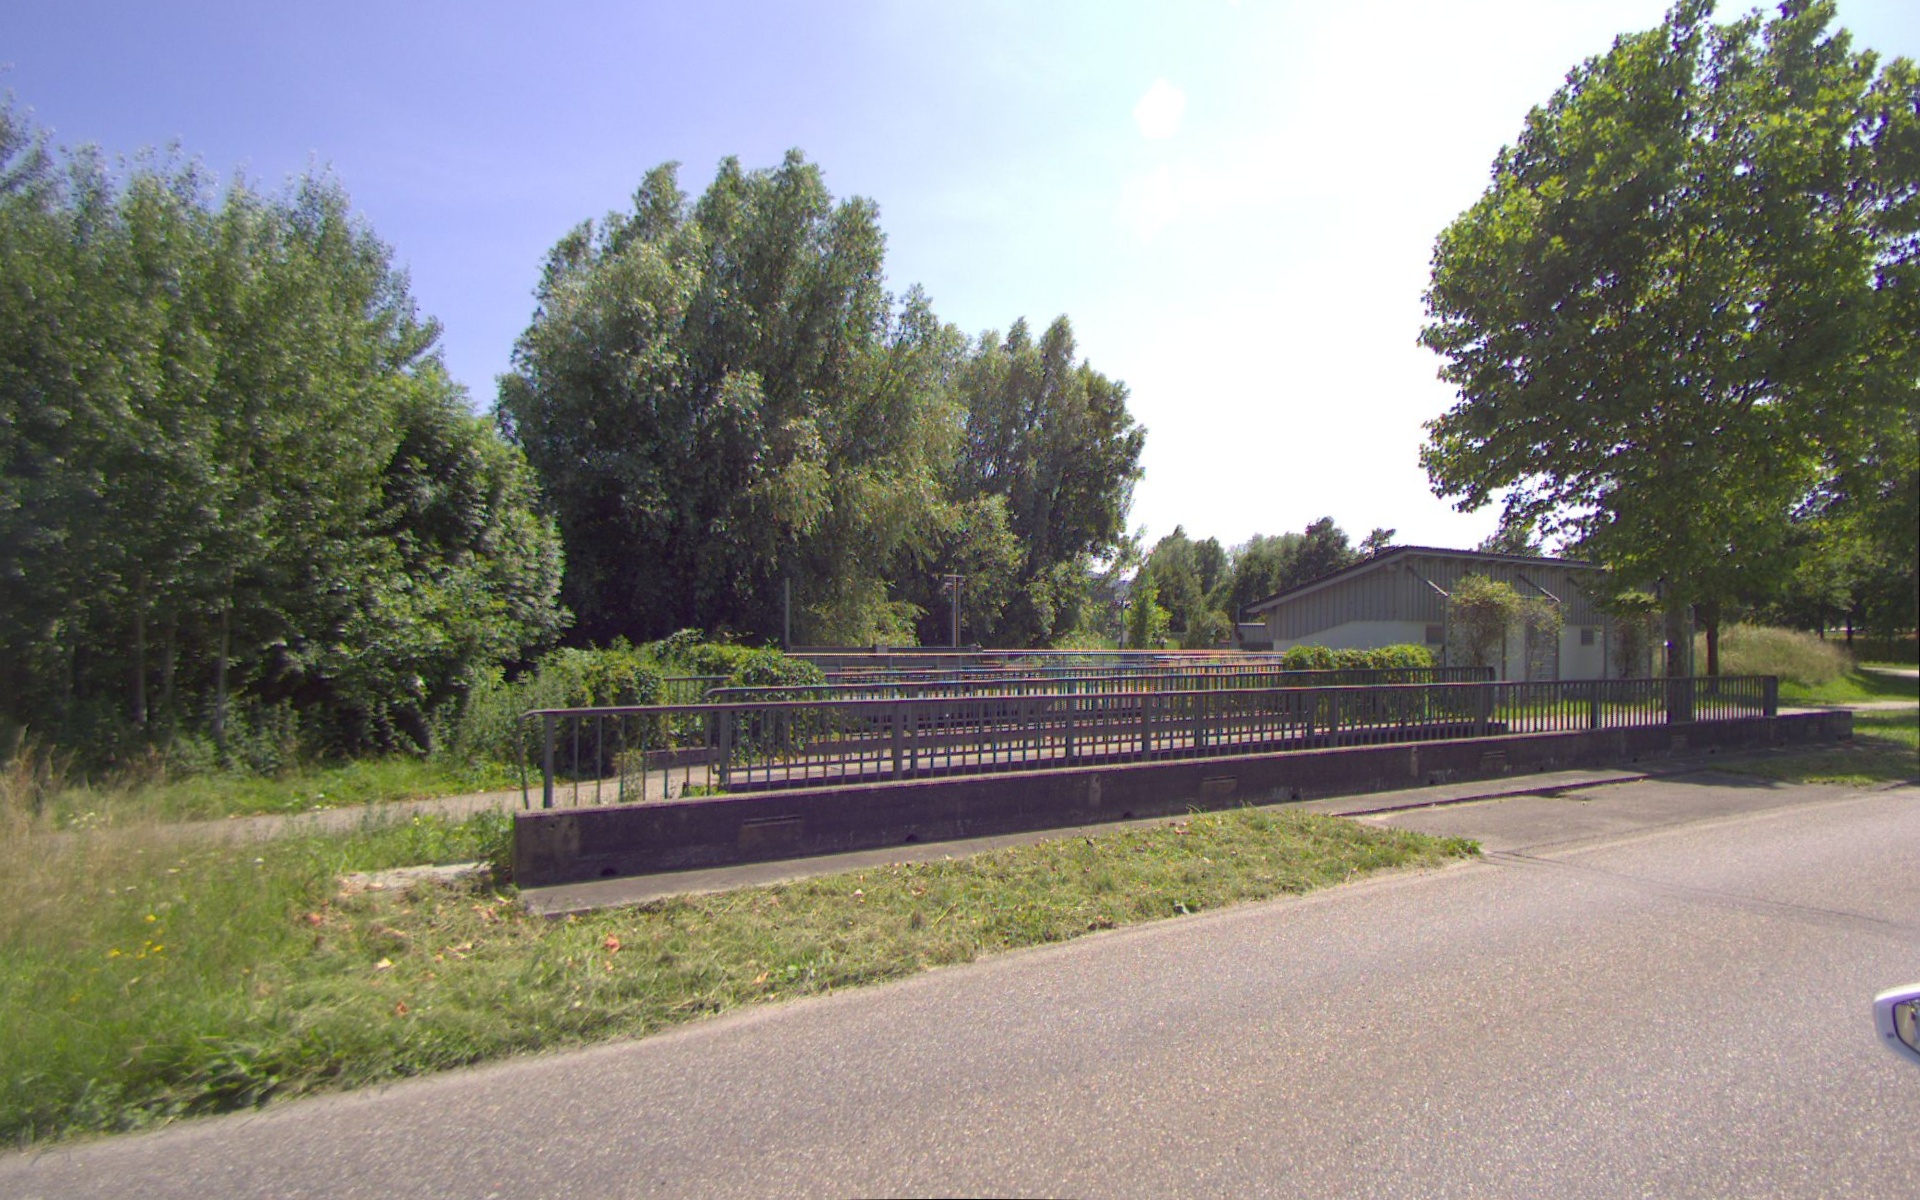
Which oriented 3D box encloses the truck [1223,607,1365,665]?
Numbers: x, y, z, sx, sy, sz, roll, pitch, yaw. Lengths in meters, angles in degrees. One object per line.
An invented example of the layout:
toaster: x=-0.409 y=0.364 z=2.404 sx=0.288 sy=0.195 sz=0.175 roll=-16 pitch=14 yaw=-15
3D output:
truck: x=13.791 y=1.452 z=41.431 sx=5.112 sy=2.246 sz=2.972 roll=2 pitch=-1 yaw=-31
